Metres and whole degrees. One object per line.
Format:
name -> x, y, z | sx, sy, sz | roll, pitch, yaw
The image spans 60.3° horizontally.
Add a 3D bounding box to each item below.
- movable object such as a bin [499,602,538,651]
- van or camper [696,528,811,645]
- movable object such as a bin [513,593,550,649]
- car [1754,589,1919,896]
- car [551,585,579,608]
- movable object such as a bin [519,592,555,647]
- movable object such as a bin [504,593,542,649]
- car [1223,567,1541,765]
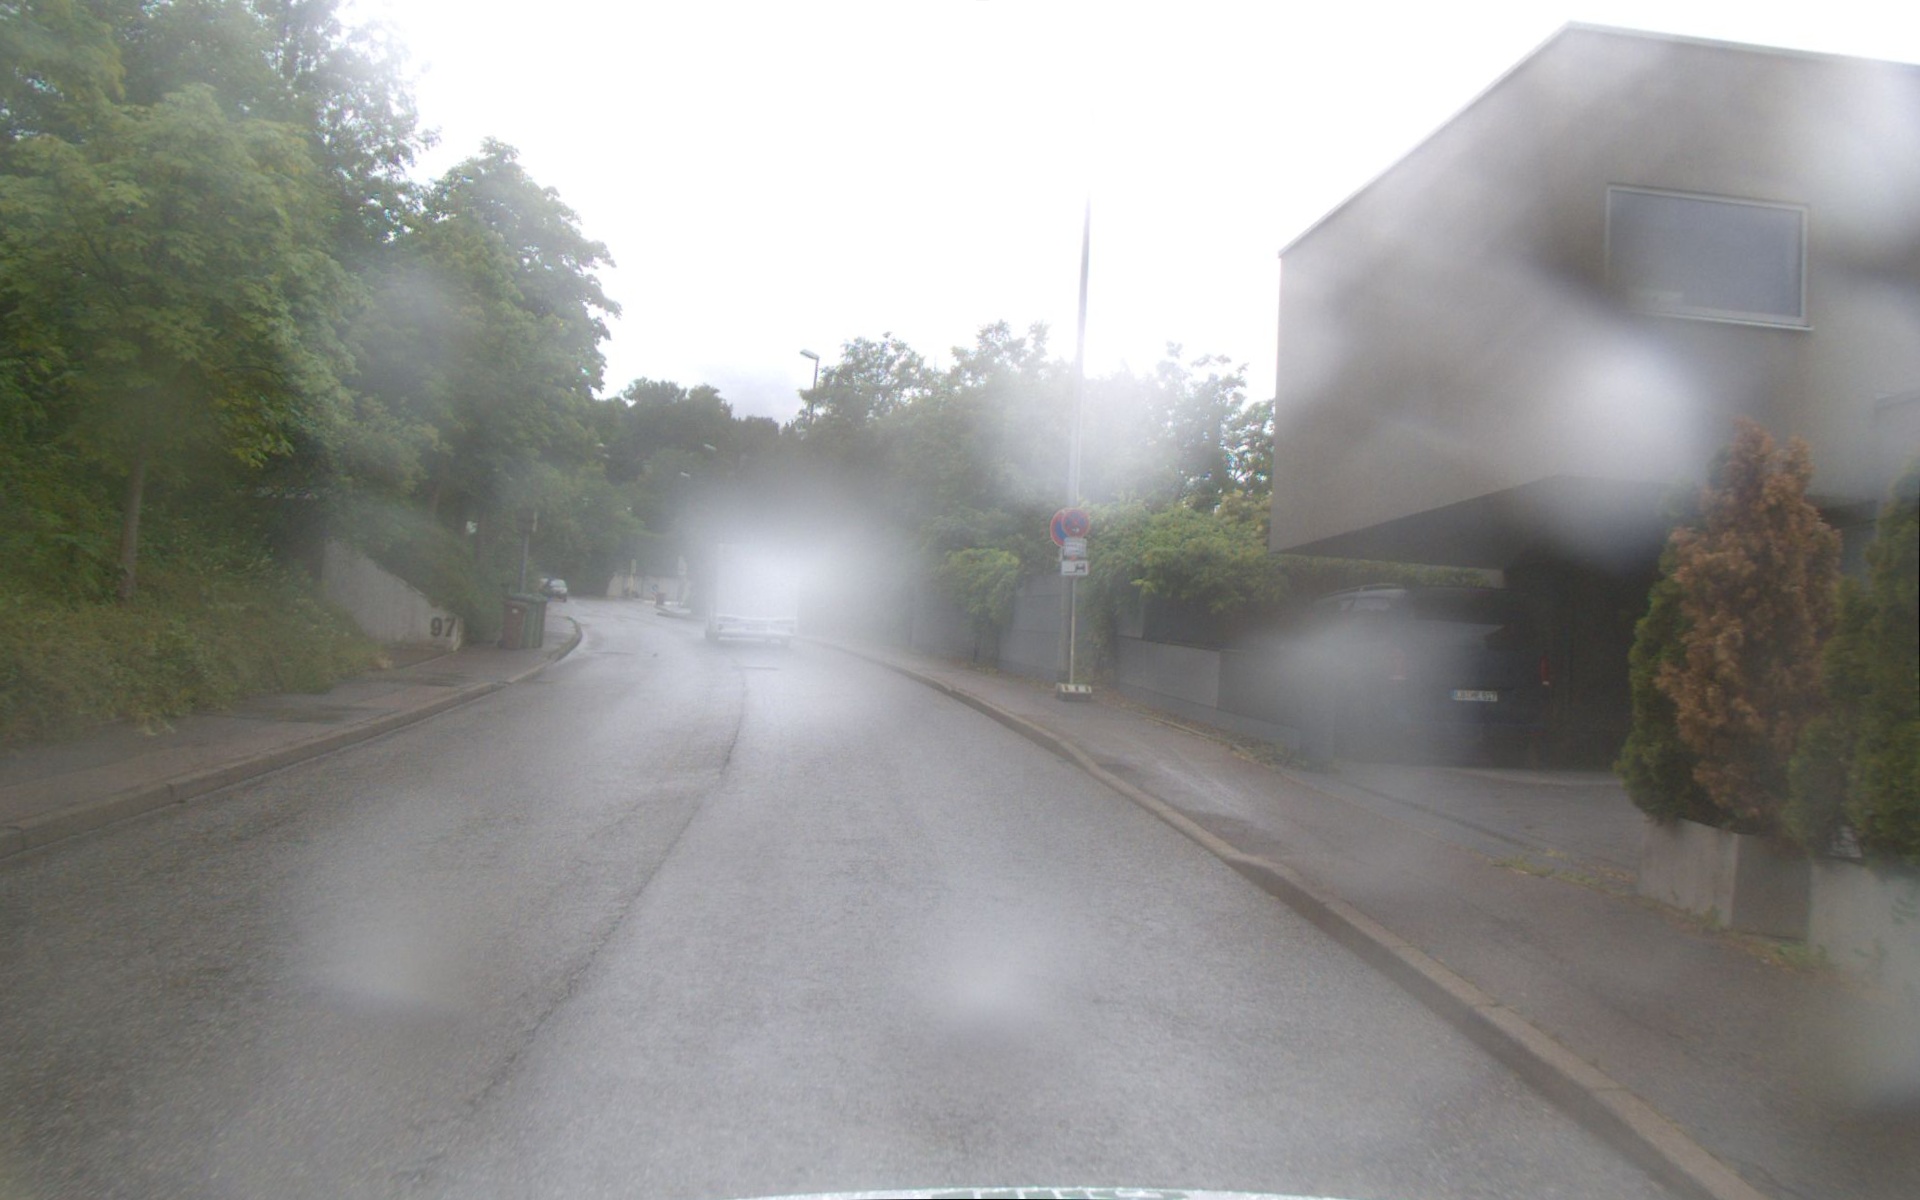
movable object such as a bin -> -8.717, 0.525, 32.668 | 0.636, 0.927, 0.672 | 3, 0, -9
van or camper -> -5.829, -0.312, 46.039 | 2.497, 2.976, 5.927 | 1, -1, -13
movable object such as a bin -> -8.869, 0.423, 34.244 | 0.636, 1.123, 0.672 | 3, 0, -9
car -> 5.715, 0.692, 8.061 | 1.598, 1.519, 3.419 | -4, 0, -9
car -> -26.731, -0.253, 111.926 | 1.621, 1.409, 3.519 | 3, 0, -12
movable object such as a bin -> -8.905, 0.407, 34.838 | 0.636, 1.135, 0.504 | 3, 0, -9
movable object such as a bin -> -8.831, 0.424, 33.432 | 0.636, 1.099, 0.672 | 3, 0, -9
car -> 4.733, 0.800, 19.345 | 1.956, 1.975, 4.764 | 2, -3, -8
